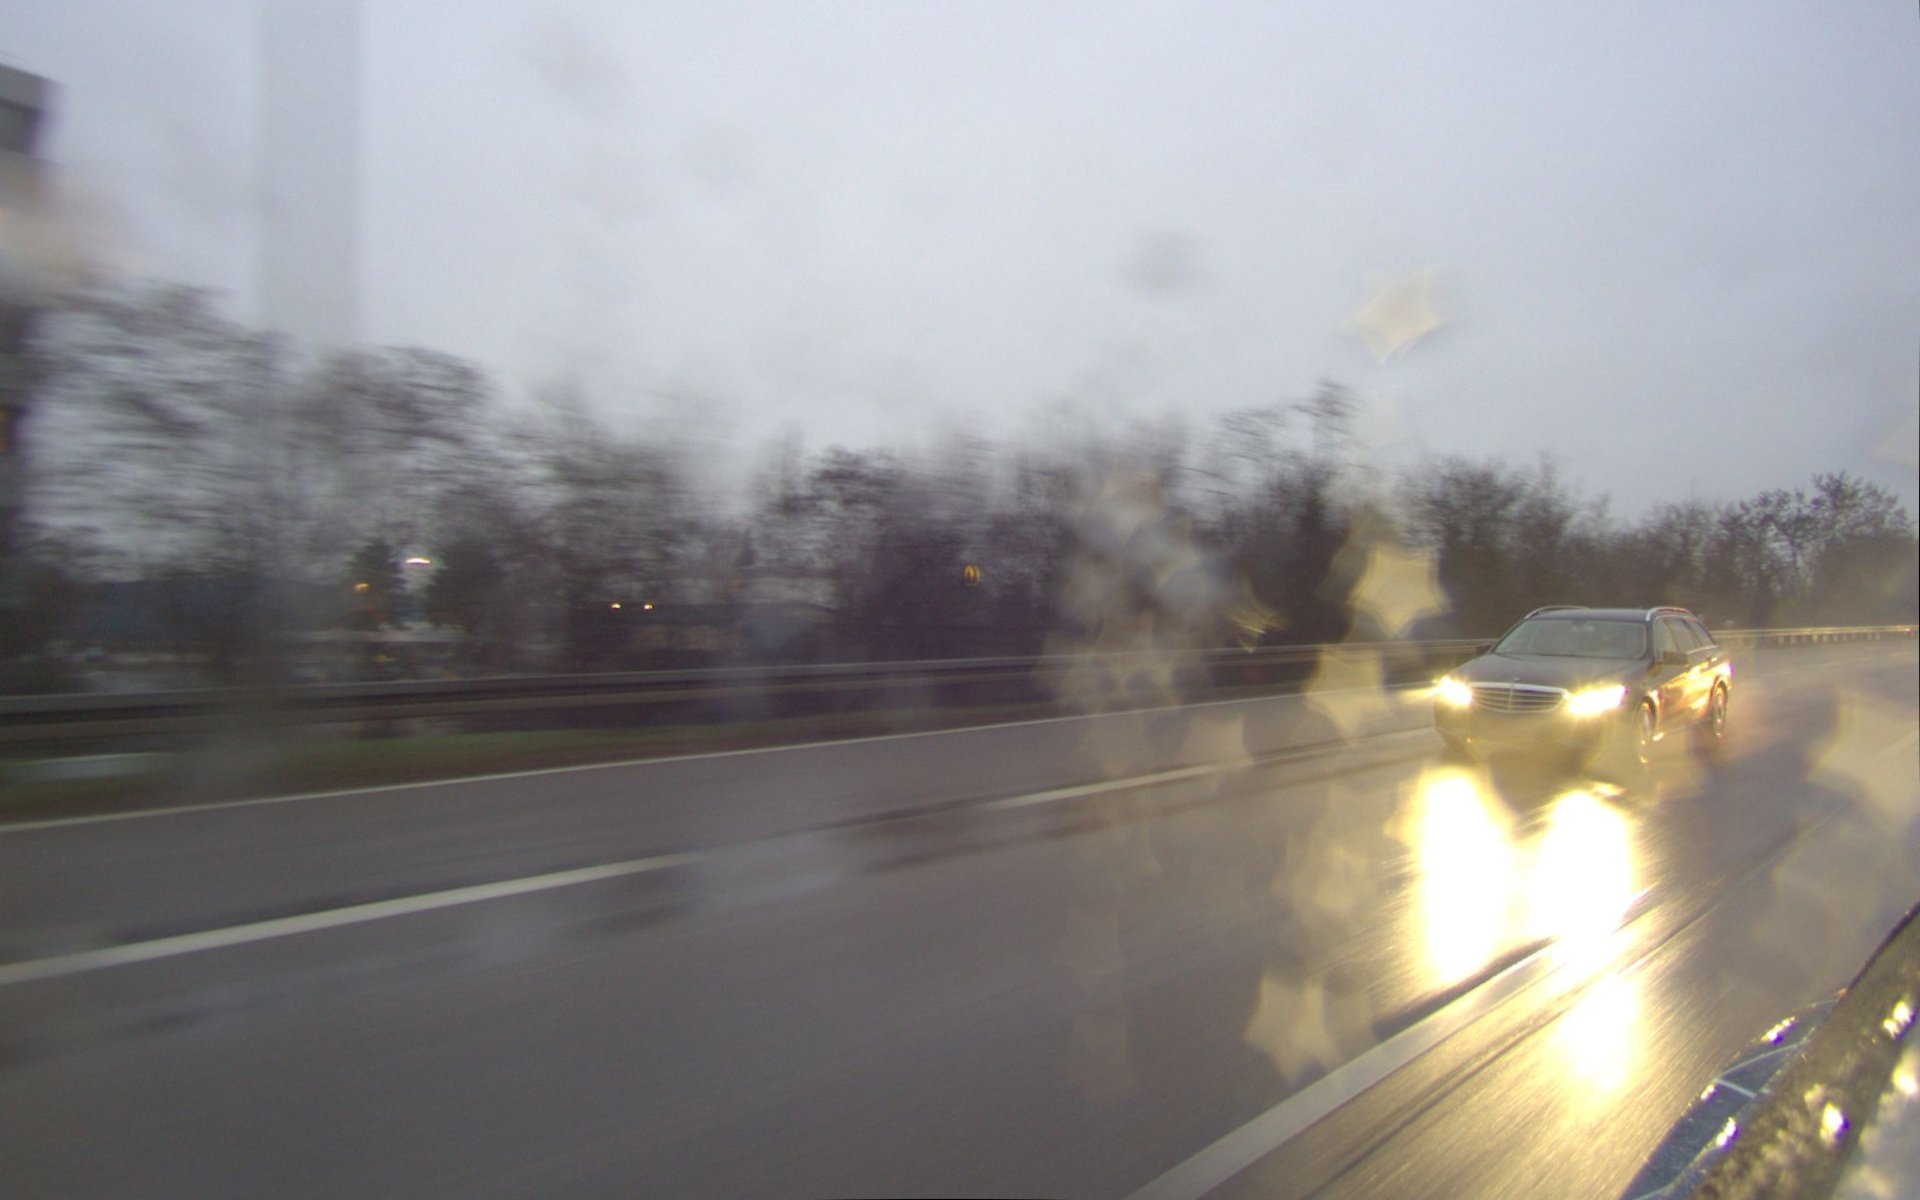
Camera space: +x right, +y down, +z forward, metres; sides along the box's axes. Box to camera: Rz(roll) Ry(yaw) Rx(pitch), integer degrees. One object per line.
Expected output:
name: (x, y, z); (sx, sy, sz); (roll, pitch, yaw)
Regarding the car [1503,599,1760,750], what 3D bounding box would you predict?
car: (7.981, 0.746, 11.876); (4.105, 1.472, 1.593); (1, -1, -43)
